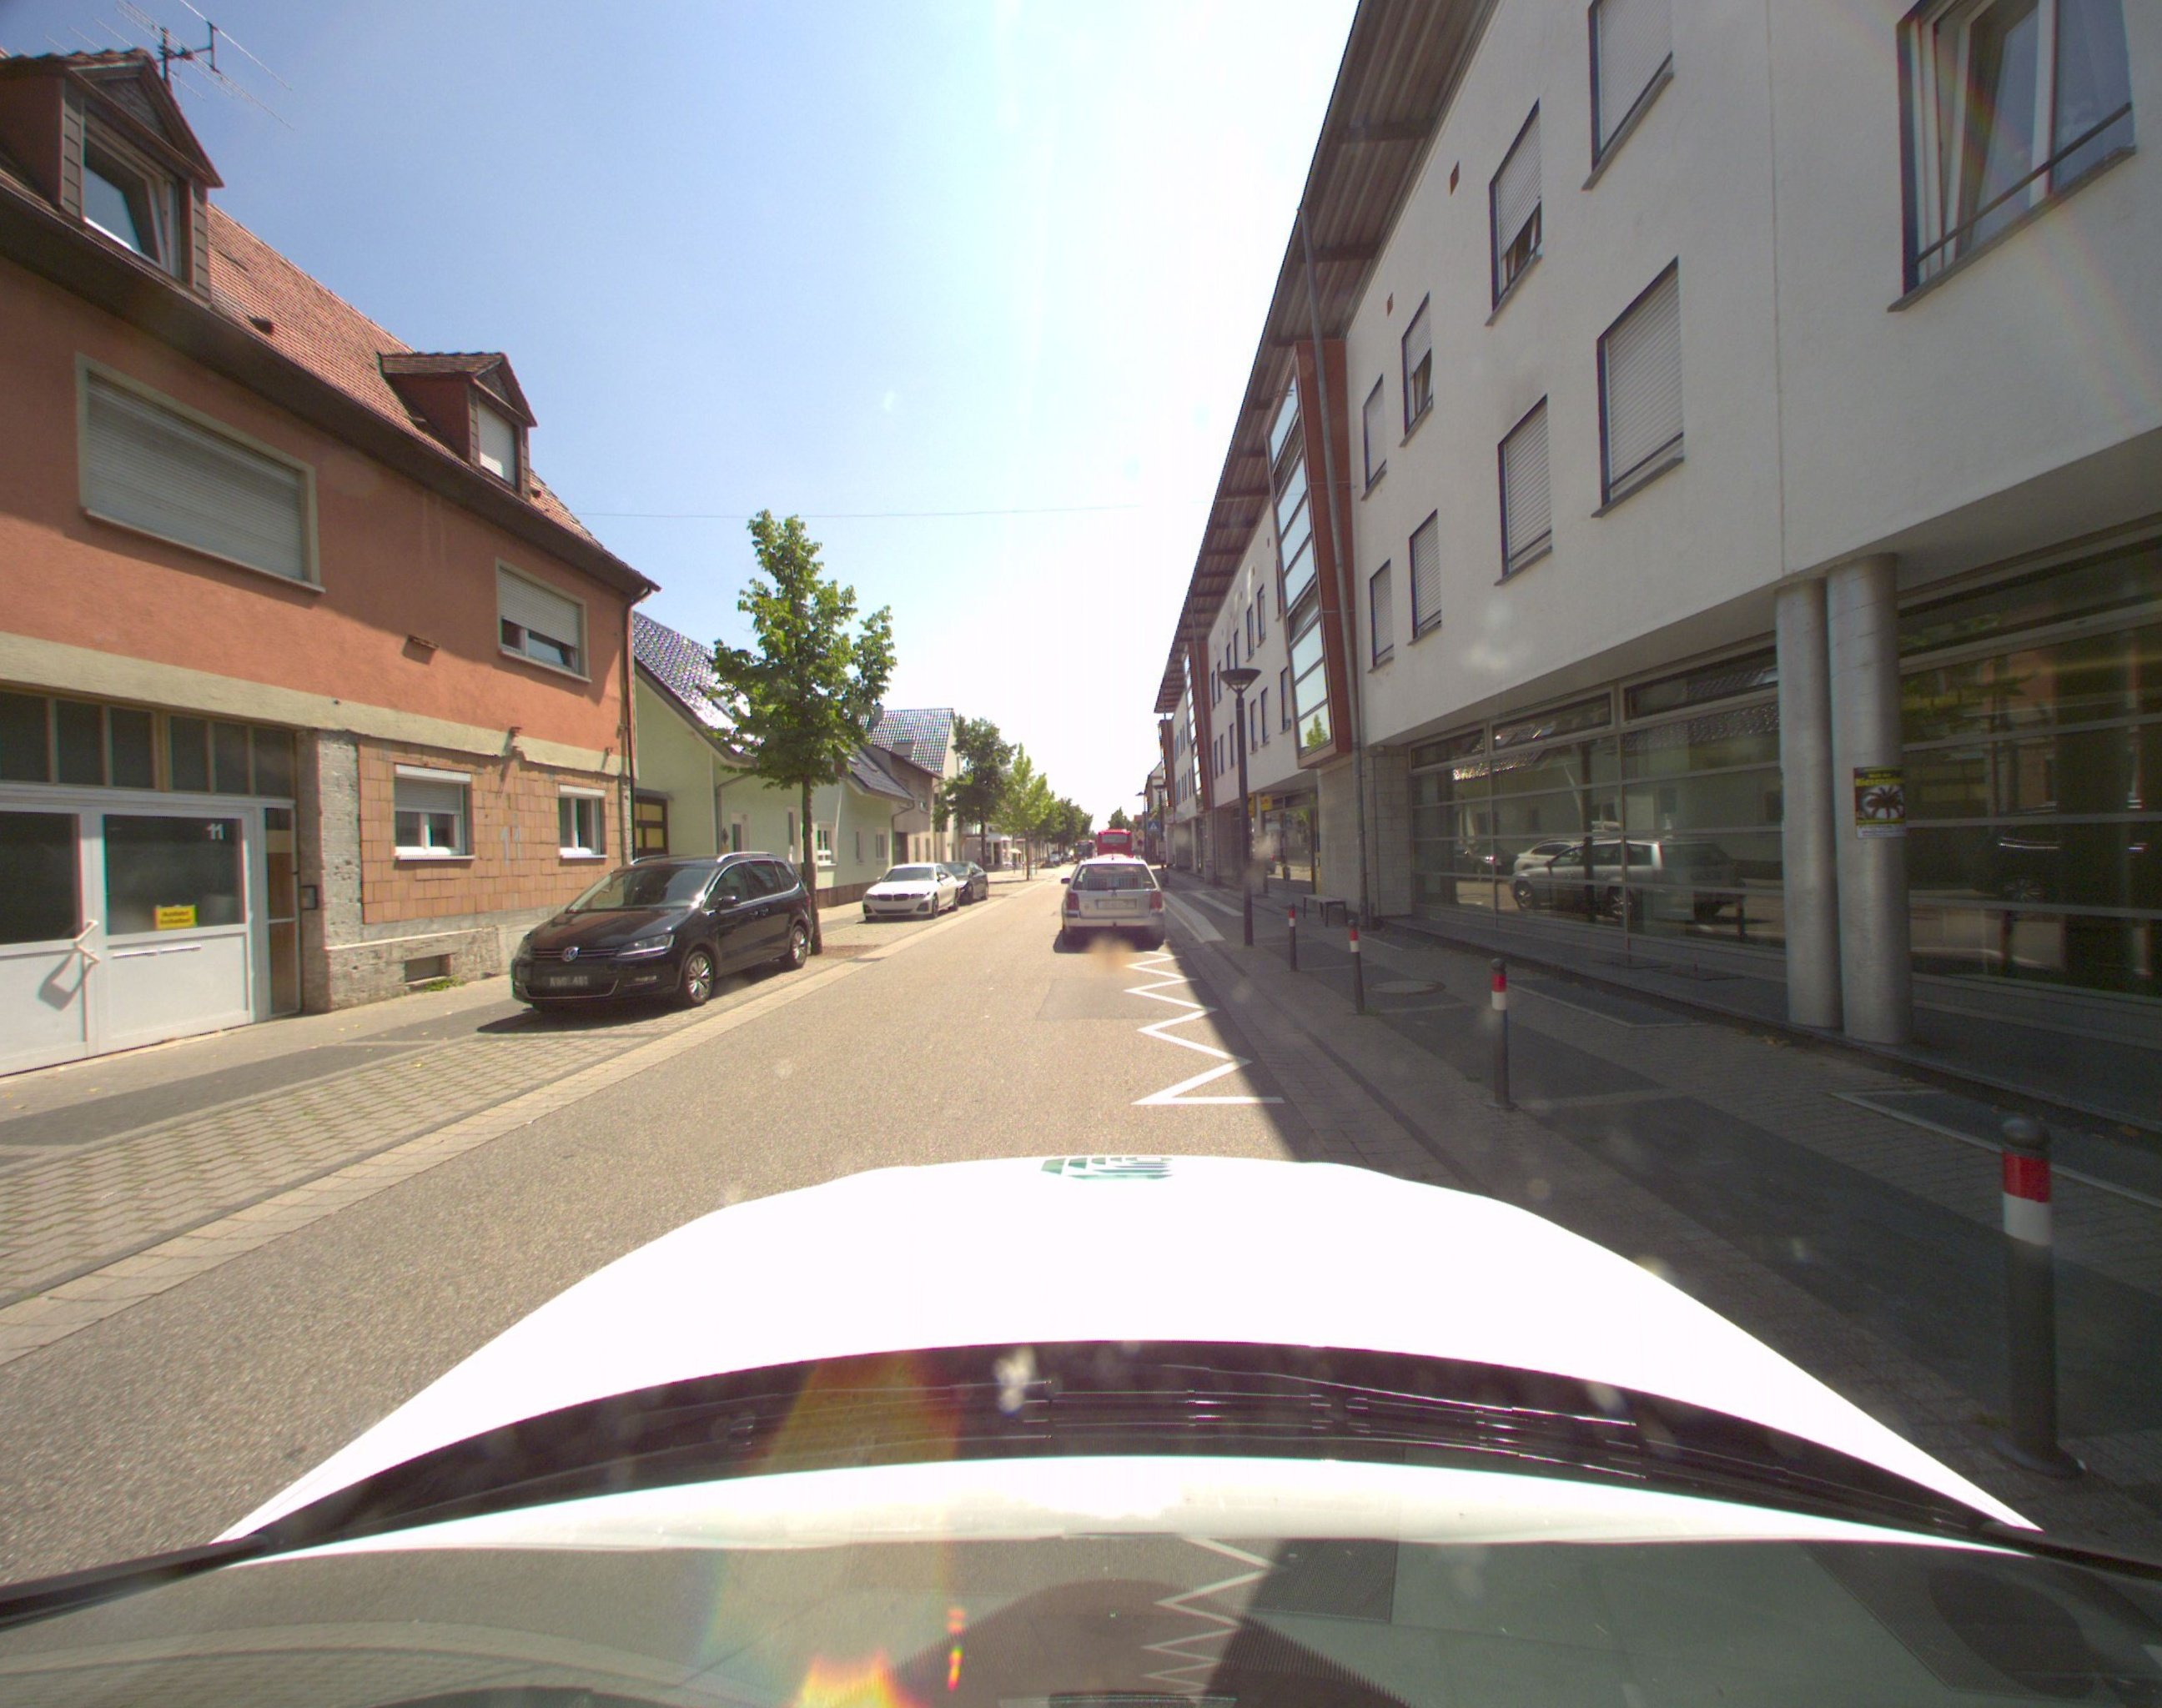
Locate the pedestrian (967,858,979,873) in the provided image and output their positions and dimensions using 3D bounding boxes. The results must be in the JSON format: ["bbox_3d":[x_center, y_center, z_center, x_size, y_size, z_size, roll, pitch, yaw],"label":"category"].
[{"bbox_3d":[-9.560,1.002,72.089,0.639,1.289,0.780,1,-1,-42],"label":"pedestrian"}]

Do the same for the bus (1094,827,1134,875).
[{"bbox_3d":[2.433,-0.207,64.058,2.731,3.298,12.705,-1,0,1],"label":"bus"}]

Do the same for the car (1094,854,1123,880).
[{"bbox_3d":[1.604,0.721,46.679,1.587,1.430,3.682,-1,0,3],"label":"car"}]

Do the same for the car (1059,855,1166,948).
[{"bbox_3d":[0.554,0.746,14.586,1.670,1.430,3.681,0,0,2],"label":"car"}]

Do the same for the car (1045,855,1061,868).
[{"bbox_3d":[-3.360,0.906,96.801,1.599,1.438,4.066,-2,0,2],"label":"car"}]

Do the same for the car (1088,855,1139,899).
[{"bbox_3d":[1.123,0.748,28.640,1.670,1.430,3.681,0,0,2],"label":"car"}]

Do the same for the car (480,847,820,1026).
[{"bbox_3d":[-5.034,0.825,10.406,1.768,1.726,4.521,-2,0,2],"label":"car"}]

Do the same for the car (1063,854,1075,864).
[{"bbox_3d":[-1.885,0.794,129.983,1.805,1.559,4.001,-2,0,2],"label":"car"}]

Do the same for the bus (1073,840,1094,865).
[{"bbox_3d":[0.286,-0.318,115.151,2.660,3.123,17.805,-2,1,0],"label":"bus"}]

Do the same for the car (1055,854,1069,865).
[{"bbox_3d":[-2.918,0.783,123.711,1.805,1.559,4.001,-2,0,2],"label":"car"}]

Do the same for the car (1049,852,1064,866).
[{"bbox_3d":[-3.263,0.664,108.698,1.758,1.838,3.790,-2,0,2],"label":"car"}]

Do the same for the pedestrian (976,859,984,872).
[{"bbox_3d":[-9.104,1.055,73.547,0.620,1.179,0.696,-2,0,-3],"label":"pedestrian"}]

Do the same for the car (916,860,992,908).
[{"bbox_3d":[-4.271,0.980,28.108,1.654,1.437,4.542,-2,0,3],"label":"car"}]

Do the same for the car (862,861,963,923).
[{"bbox_3d":[-4.521,0.965,22.511,1.713,1.437,4.461,-1,0,2],"label":"car"}]

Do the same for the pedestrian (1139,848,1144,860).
[{"bbox_3d":[8.824,-0.022,119.482,0.604,1.667,0.789,-2,0,0],"label":"pedestrian"}]

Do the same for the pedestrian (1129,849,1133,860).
[{"bbox_3d":[7.595,0.080,124.142,0.604,1.667,0.789,-2,0,0],"label":"pedestrian"}]
